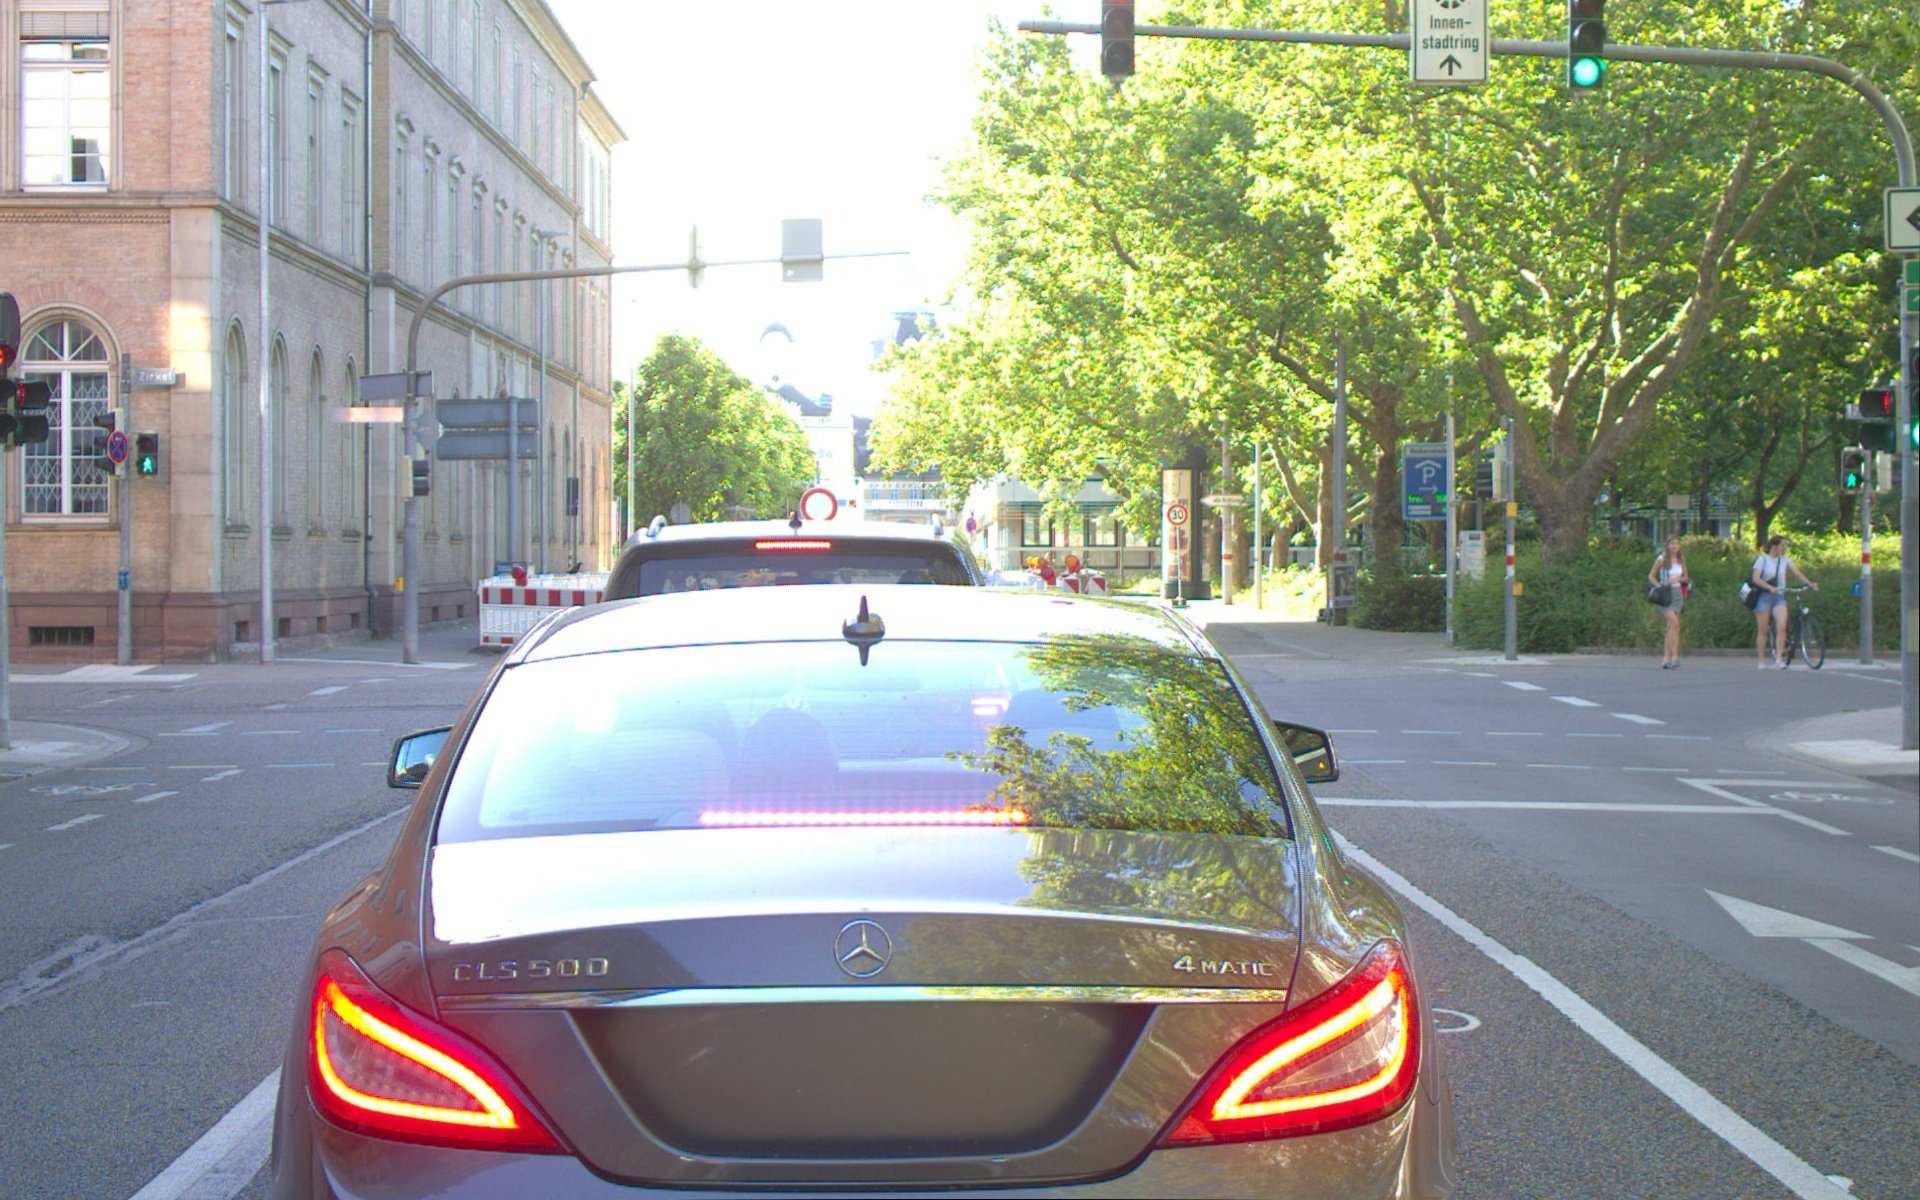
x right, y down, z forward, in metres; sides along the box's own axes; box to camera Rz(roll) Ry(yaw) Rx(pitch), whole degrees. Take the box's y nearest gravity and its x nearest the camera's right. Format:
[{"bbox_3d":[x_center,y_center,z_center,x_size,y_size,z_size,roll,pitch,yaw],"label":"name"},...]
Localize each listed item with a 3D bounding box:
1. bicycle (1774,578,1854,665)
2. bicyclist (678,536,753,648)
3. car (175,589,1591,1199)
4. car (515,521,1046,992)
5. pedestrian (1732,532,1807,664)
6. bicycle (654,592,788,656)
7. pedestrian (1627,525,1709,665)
[{"bbox_3d":[11.083,0.267,44.655,0.524,1.096,1.741,1,1,-2],"label":"bicycle"},{"bbox_3d":[-3.435,-0.112,48.340,0.804,1.553,0.650,1,0,-36],"label":"bicyclist"},{"bbox_3d":[-0.202,0.719,6.756,1.843,1.424,4.518,1,1,-3],"label":"car"},{"bbox_3d":[-0.579,0.517,13.752,1.809,1.607,4.000,0,1,1],"label":"car"},{"bbox_3d":[10.558,-0.033,44.870,0.683,1.691,0.971,1,0,-3],"label":"pedestrian"},{"bbox_3d":[-3.363,0.336,48.425,1.862,0.888,0.550,0,1,-36],"label":"bicycle"},{"bbox_3d":[9.237,-0.064,44.870,0.732,1.802,0.909,0,-1,-12],"label":"pedestrian"}]
